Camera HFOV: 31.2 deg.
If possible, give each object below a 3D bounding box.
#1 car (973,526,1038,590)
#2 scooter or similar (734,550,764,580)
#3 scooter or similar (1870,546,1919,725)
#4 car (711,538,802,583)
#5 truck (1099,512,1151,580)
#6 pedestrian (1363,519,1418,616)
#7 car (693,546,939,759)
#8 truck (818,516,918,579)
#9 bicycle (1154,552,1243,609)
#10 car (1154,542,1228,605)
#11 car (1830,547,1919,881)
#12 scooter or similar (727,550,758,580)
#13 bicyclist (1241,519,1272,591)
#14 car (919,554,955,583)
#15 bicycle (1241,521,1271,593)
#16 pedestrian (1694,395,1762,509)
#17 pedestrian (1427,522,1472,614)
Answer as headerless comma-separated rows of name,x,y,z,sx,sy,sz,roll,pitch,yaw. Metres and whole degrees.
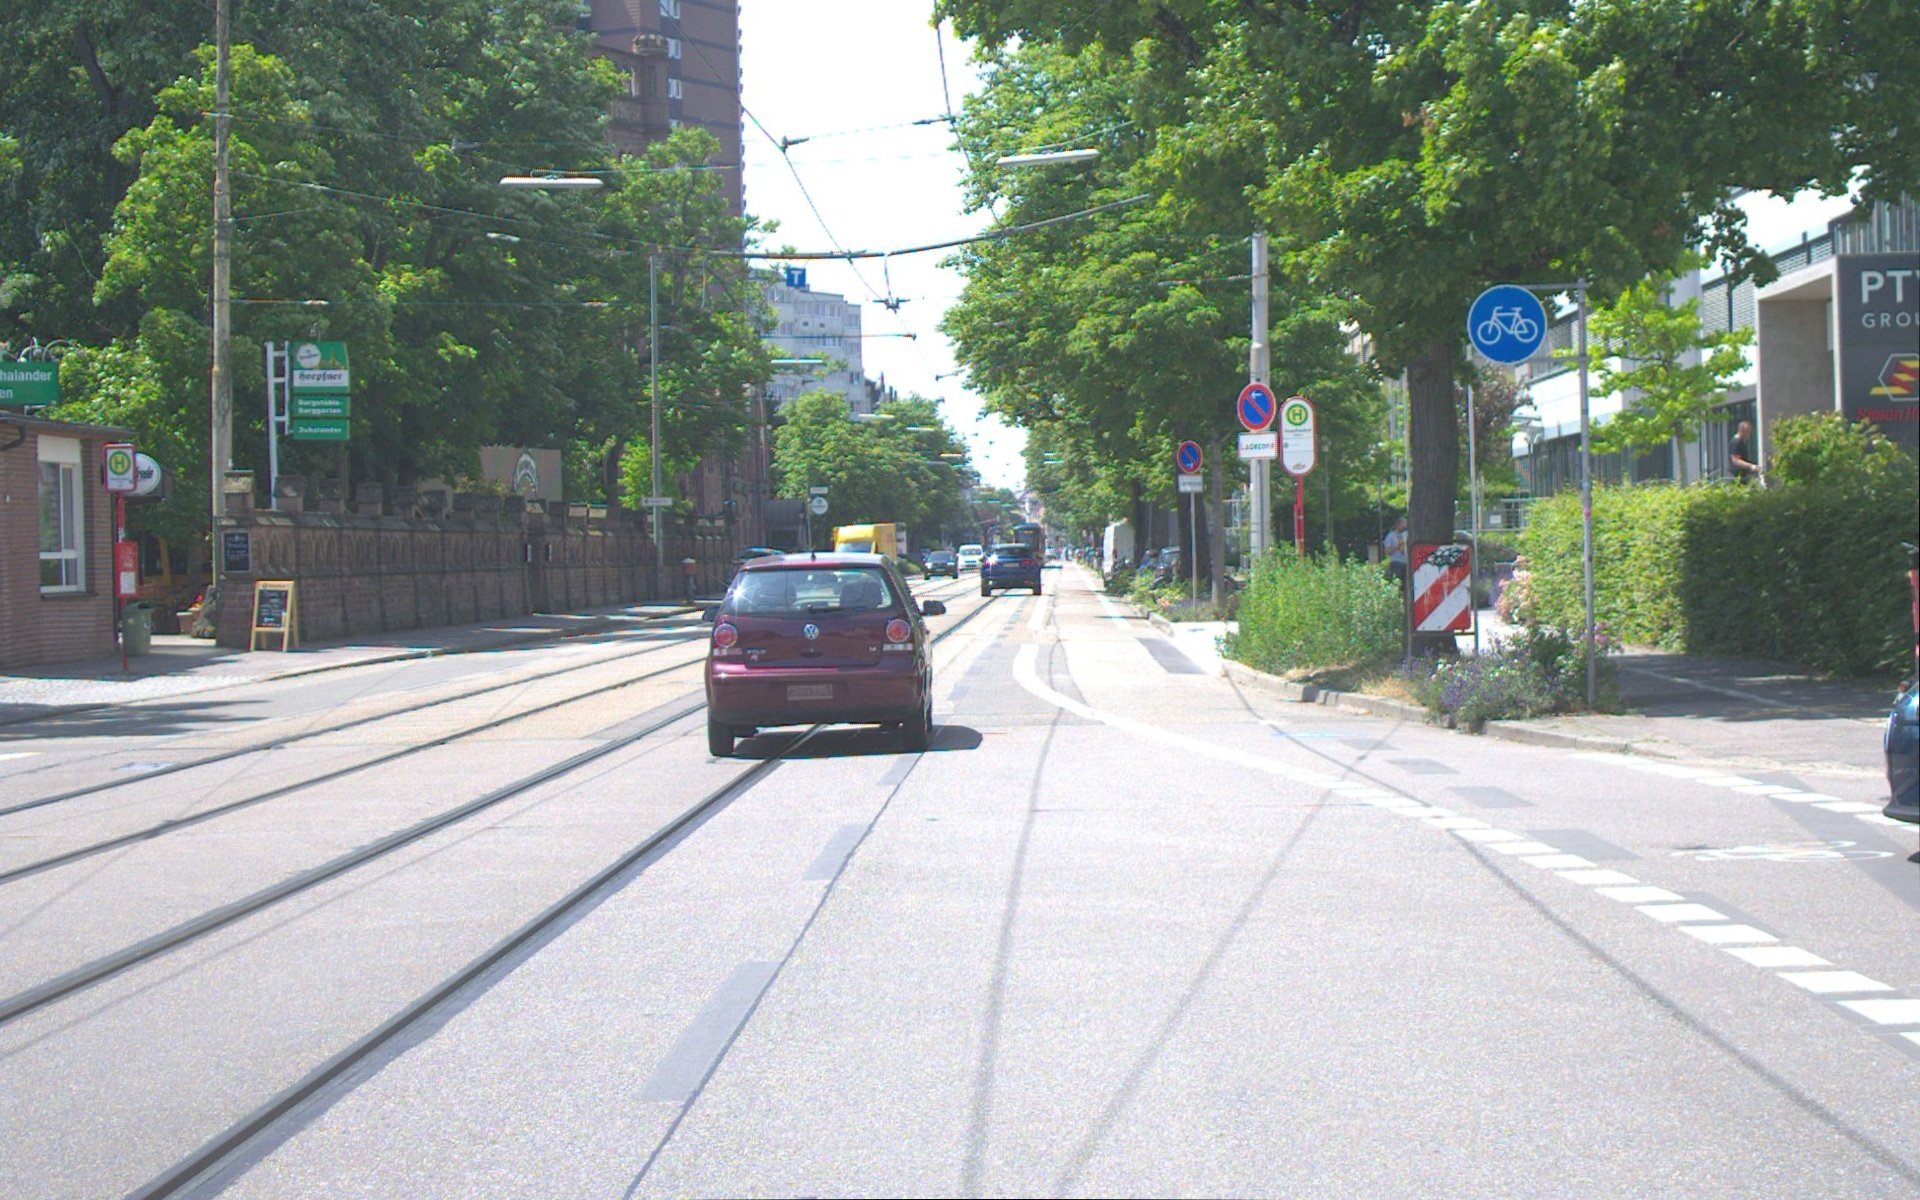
car,1.438,-1.351,109.753,1.993,2.007,4.000,0,1,0
scooter or similar,-8.260,-1.380,134.512,1.088,1.151,0.527,0,1,-19
scooter or similar,6.637,0.233,24.101,0.326,1.218,1.150,0,1,23
car,-9.550,-1.871,161.529,3.988,2.007,2.000,-1,1,6
truck,6.566,-2.174,137.211,1.993,2.653,4.875,0,1,2
pedestrian,8.181,-0.620,65.345,0.677,1.790,0.675,-3,1,-29
car,-1.042,0.346,26.543,1.619,1.481,4.000,-1,1,1
truck,-4.216,-2.453,159.429,2.371,2.777,7.313,-1,1,17
bicycle,5.240,-0.426,75.556,1.883,1.178,0.694,-2,0,2
car,5.893,-0.688,88.025,1.688,1.498,3.627,-3,1,2
car,5.747,0.419,14.123,3.919,1.367,1.701,-1,0,26
scooter or similar,-8.366,-1.349,131.960,1.088,1.151,0.527,0,1,-19
bicyclist,7.506,-1.144,87.163,0.696,1.793,0.887,-3,0,5
car,-1.252,-1.701,185.873,1.770,1.510,4.000,-1,1,2
bicycle,7.502,-1.089,87.154,0.690,1.779,1.810,-3,0,5
pedestrian,12.045,-2.313,53.939,0.874,1.709,1.089,-3,0,8
pedestrian,9.304,-0.608,65.304,0.537,1.709,0.566,-3,0,-27
